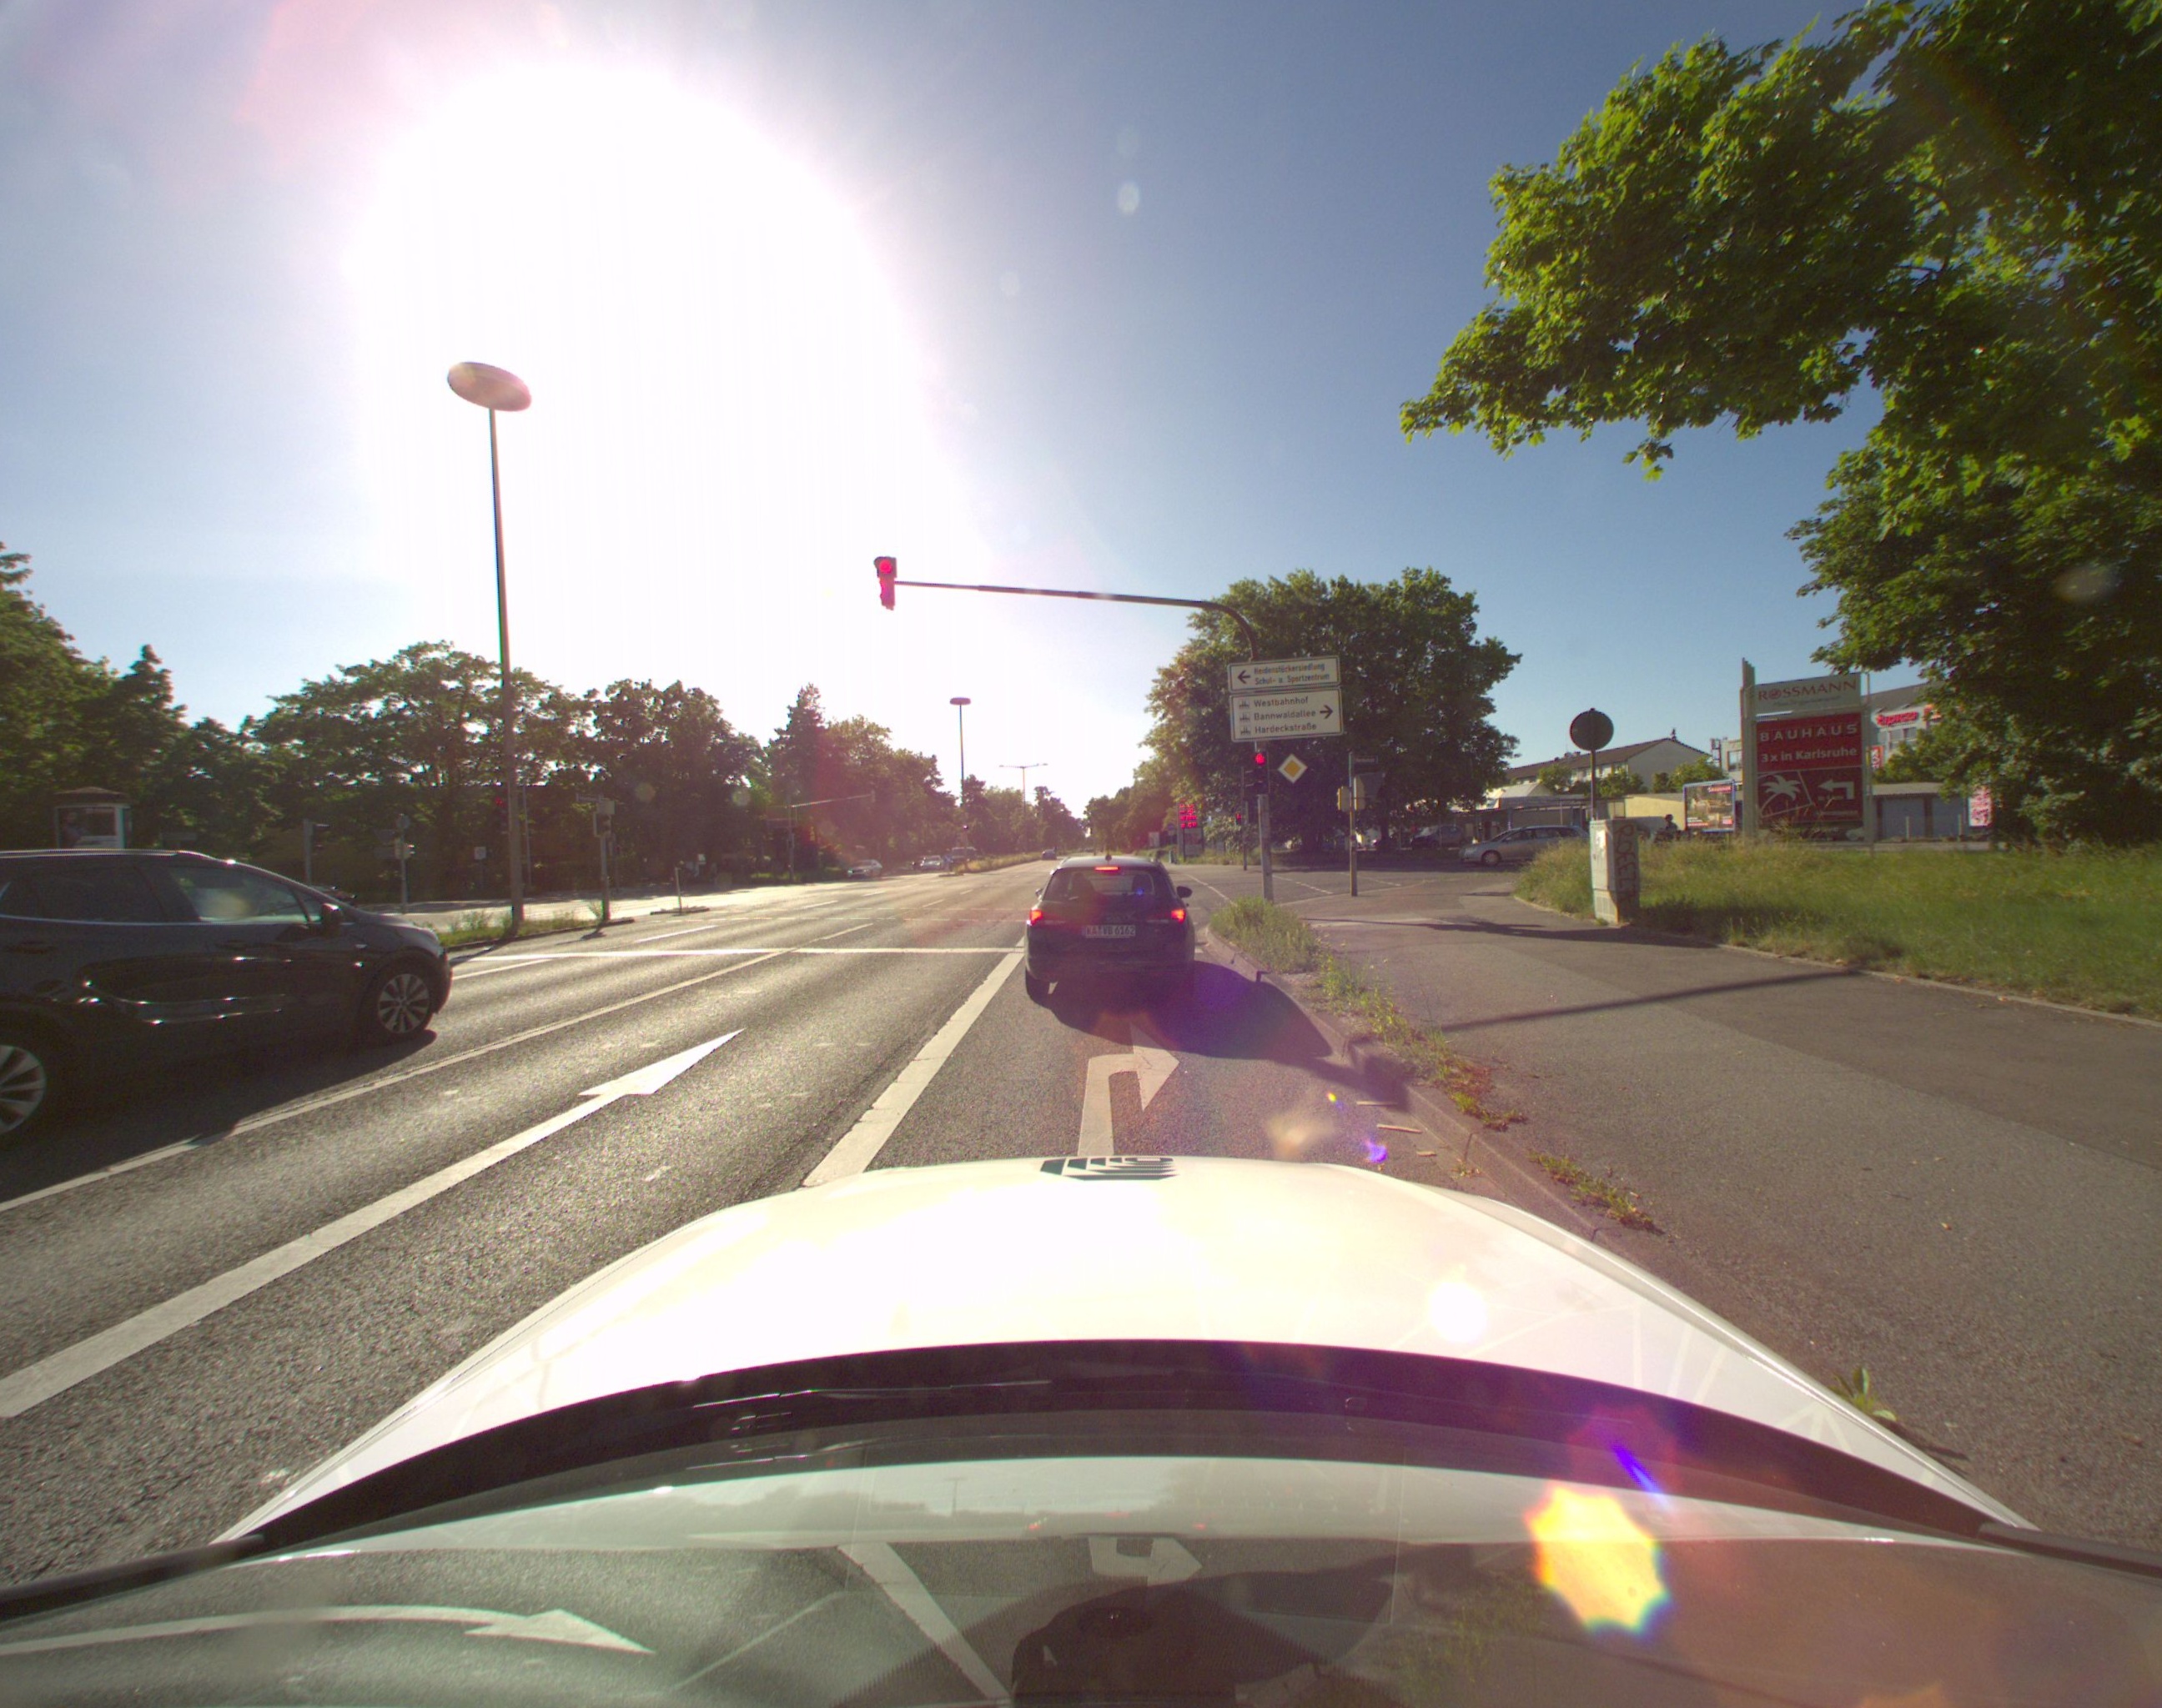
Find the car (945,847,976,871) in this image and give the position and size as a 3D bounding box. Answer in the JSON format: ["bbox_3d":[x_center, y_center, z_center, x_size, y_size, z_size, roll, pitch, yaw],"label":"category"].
[{"bbox_3d":[-10.273,0.399,69.812,1.986,2.014,4.001,0,0,2],"label":"car"}]

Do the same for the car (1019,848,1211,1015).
[{"bbox_3d":[0.363,0.728,9.471,1.749,1.509,3.809,-1,0,1],"label":"car"}]

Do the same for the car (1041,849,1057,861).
[{"bbox_3d":[-4.247,0.117,108.901,1.882,1.552,4.001,-2,0,1],"label":"car"}]

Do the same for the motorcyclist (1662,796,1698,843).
[{"bbox_3d":[22.143,-1.267,30.131,0.853,1.680,0.838,0,-1,18],"label":"motorcyclist"}]

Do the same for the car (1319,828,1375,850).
[{"bbox_3d":[19.353,-1.080,59.182,3.860,1.563,1.787,0,0,-31],"label":"car"}]

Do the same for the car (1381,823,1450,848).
[{"bbox_3d":[21.395,-1.165,52.154,3.846,1.482,1.794,0,0,-18],"label":"car"}]

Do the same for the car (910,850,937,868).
[{"bbox_3d":[-17.172,0.539,88.908,1.986,1.749,4.002,-4,1,2],"label":"car"}]

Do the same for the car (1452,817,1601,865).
[{"bbox_3d":[16.949,-0.466,31.236,4.587,1.574,2.007,-2,-1,12],"label":"car"}]

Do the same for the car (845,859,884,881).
[{"bbox_3d":[-17.313,1.259,65.234,1.857,1.684,4.262,0,0,2],"label":"car"}]

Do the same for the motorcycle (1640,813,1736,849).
[{"bbox_3d":[22.375,-0.822,30.069,2.703,1.270,0.838,0,0,17],"label":"motorcycle"}]

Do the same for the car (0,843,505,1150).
[{"bbox_3d":[-6.580,0.787,5.783,1.689,1.632,4.419,-2,0,2],"label":"car"}]

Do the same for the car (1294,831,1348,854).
[{"bbox_3d":[18.145,-0.826,61.571,3.729,1.685,1.690,0,0,-25],"label":"car"}]

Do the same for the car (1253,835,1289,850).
[{"bbox_3d":[21.973,-1.312,94.294,3.701,1.685,1.703,0,0,-2],"label":"car"}]

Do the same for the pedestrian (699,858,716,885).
[{"bbox_3d":[-25.634,1.185,55.854,0.842,1.835,0.550,-3,0,5],"label":"pedestrian"}]

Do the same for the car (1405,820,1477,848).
[{"bbox_3d":[22.179,-1.203,50.206,3.846,1.611,1.794,0,0,-18],"label":"car"}]

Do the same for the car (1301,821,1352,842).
[{"bbox_3d":[20.316,-1.829,67.360,3.701,1.685,1.703,0,0,-2],"label":"car"}]

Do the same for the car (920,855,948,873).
[{"bbox_3d":[-13.939,0.929,77.562,1.857,1.684,4.002,0,0,2],"label":"car"}]
